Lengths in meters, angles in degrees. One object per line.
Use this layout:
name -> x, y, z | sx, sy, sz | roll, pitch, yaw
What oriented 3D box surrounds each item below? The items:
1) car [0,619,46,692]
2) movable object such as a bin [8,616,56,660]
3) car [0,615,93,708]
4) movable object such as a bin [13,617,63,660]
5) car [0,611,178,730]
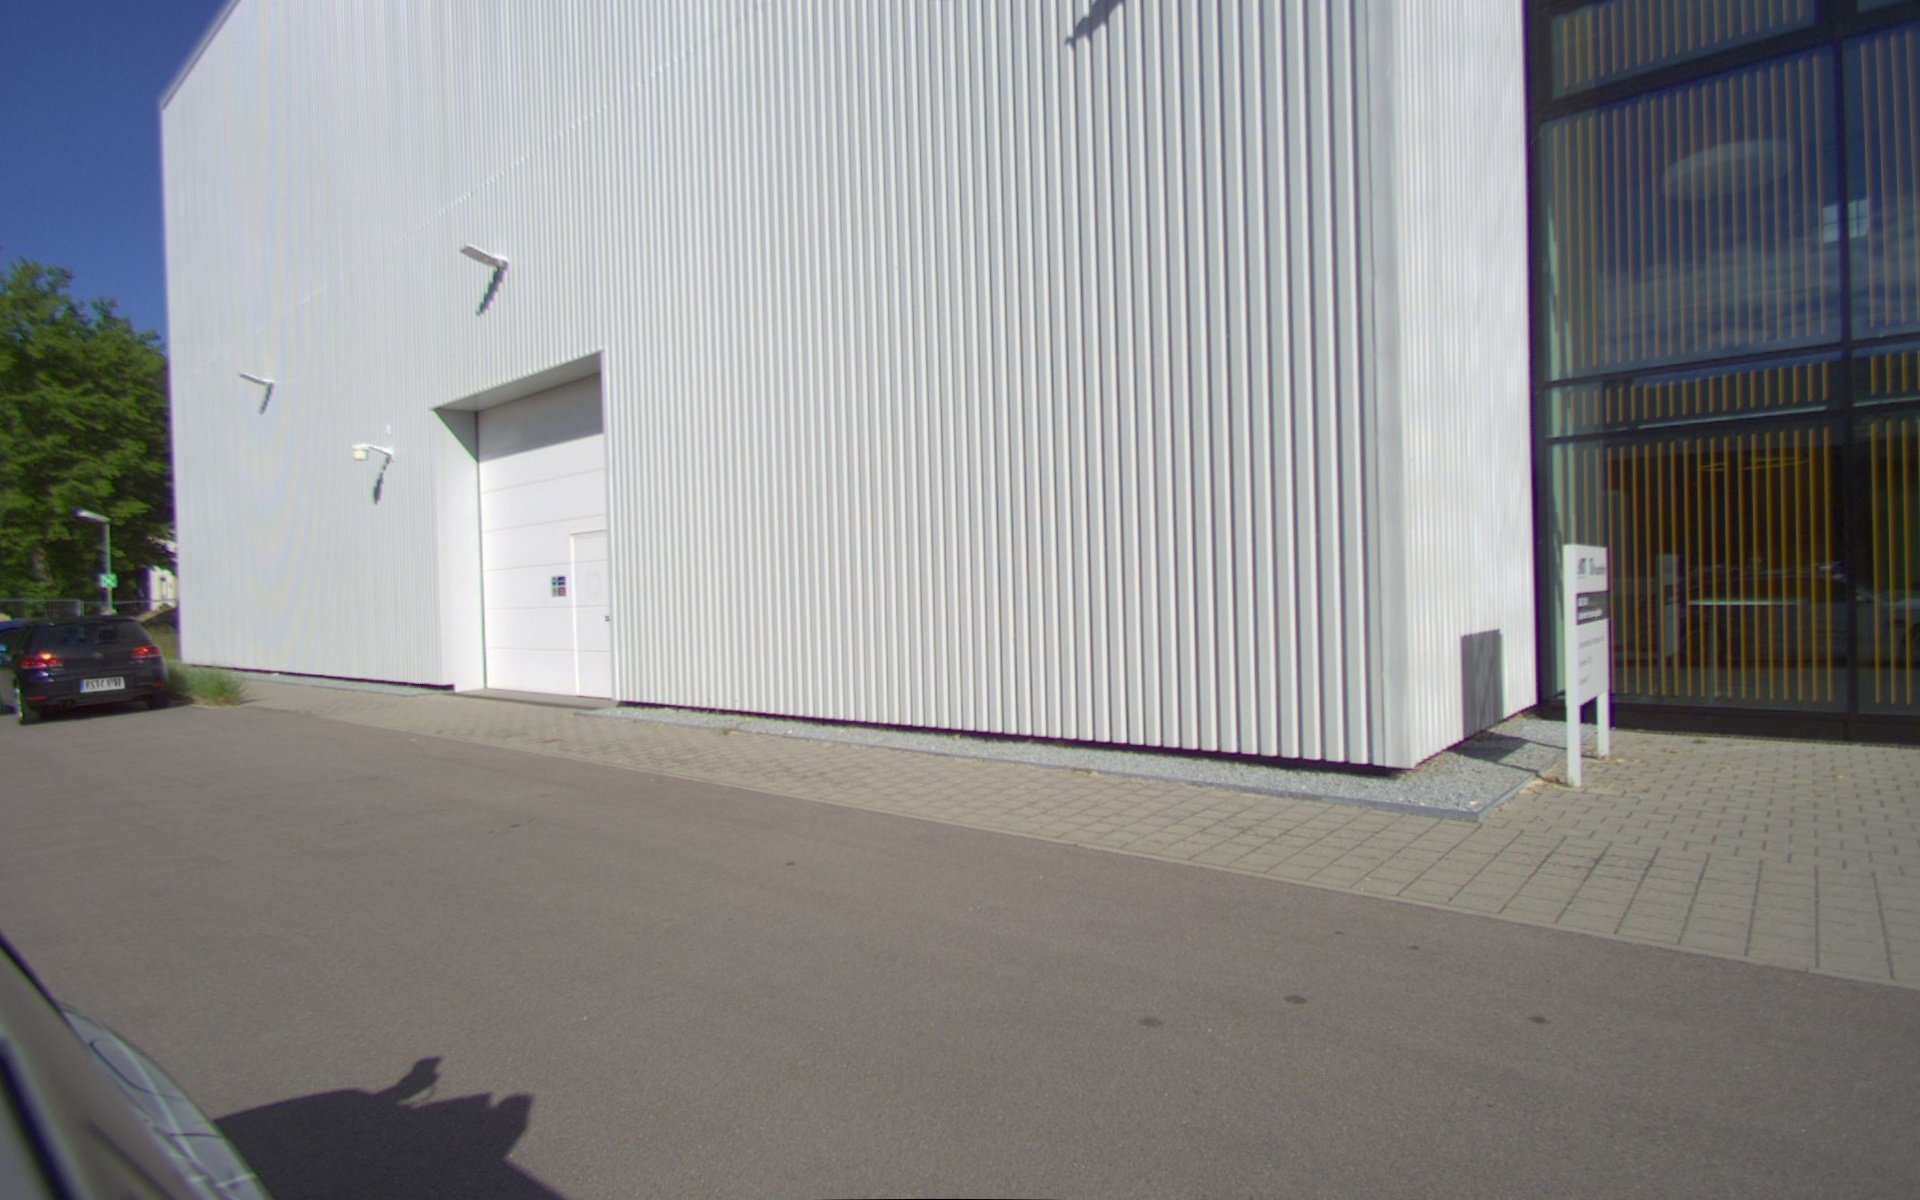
car -> -21.532, 1.245, 22.135 | 3.794, 1.459, 1.695 | -2, 1, 39
movable object such as a bin -> -32.587, 1.341, 35.548 | 1.279, 1.489, 1.126 | -3, -2, 41
car -> -17.341, 1.108, 18.565 | 3.518, 1.499, 1.533 | -2, 1, 39
movable object such as a bin -> -31.570, 1.308, 34.641 | 1.288, 1.445, 1.126 | -2, -2, 41
car -> -13.674, 1.009, 15.559 | 4.312, 1.456, 1.738 | -2, 2, 41
